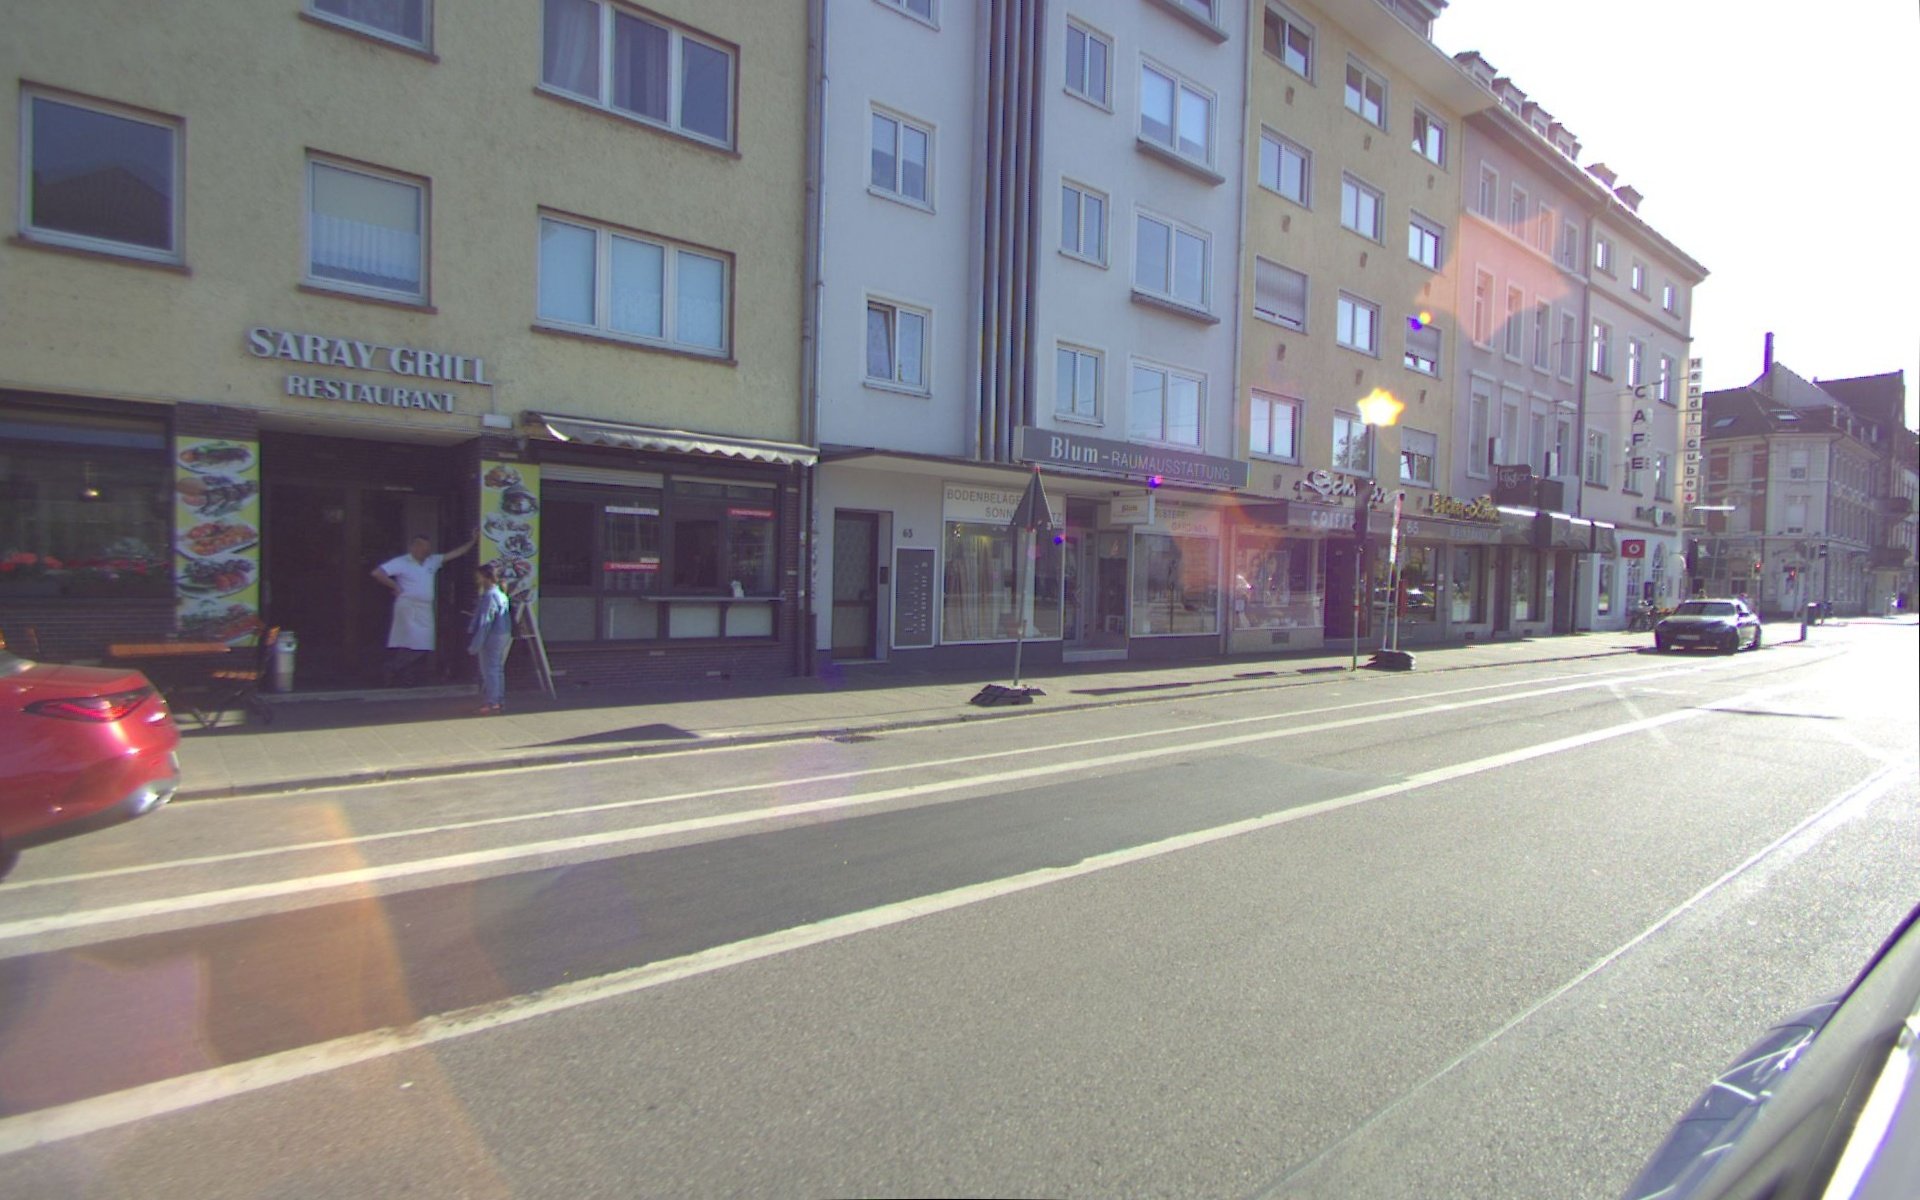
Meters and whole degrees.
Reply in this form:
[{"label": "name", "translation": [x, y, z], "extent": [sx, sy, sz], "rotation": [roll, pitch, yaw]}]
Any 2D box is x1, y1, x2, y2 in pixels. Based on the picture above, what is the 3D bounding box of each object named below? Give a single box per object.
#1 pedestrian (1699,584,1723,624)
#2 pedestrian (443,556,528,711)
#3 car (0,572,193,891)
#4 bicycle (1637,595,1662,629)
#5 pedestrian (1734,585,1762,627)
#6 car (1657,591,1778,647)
[{"label": "pedestrian", "translation": [32.395, 0.155, 43.674], "extent": [0.665, 1.711, 0.663], "rotation": [0, 2, -41]}, {"label": "pedestrian", "translation": [-4.910, 0.320, 10.457], "extent": [0.640, 1.525, 0.672], "rotation": [0, 2, -40]}, {"label": "car", "translation": [-6.455, 0.606, 4.278], "extent": [5.067, 1.460, 1.876], "rotation": [0, 2, -40]}, {"label": "bicycle", "translation": [24.574, 0.419, 36.042], "extent": [0.693, 1.122, 1.842], "rotation": [2, 2, 35]}, {"label": "pedestrian", "translation": [32.937, 0.240, 42.309], "extent": [0.785, 1.712, 0.775], "rotation": [3, -1, -41]}, {"label": "car", "translation": [21.342, 0.476, 28.446], "extent": [4.636, 1.447, 1.902], "rotation": [-1, 1, -42]}]
